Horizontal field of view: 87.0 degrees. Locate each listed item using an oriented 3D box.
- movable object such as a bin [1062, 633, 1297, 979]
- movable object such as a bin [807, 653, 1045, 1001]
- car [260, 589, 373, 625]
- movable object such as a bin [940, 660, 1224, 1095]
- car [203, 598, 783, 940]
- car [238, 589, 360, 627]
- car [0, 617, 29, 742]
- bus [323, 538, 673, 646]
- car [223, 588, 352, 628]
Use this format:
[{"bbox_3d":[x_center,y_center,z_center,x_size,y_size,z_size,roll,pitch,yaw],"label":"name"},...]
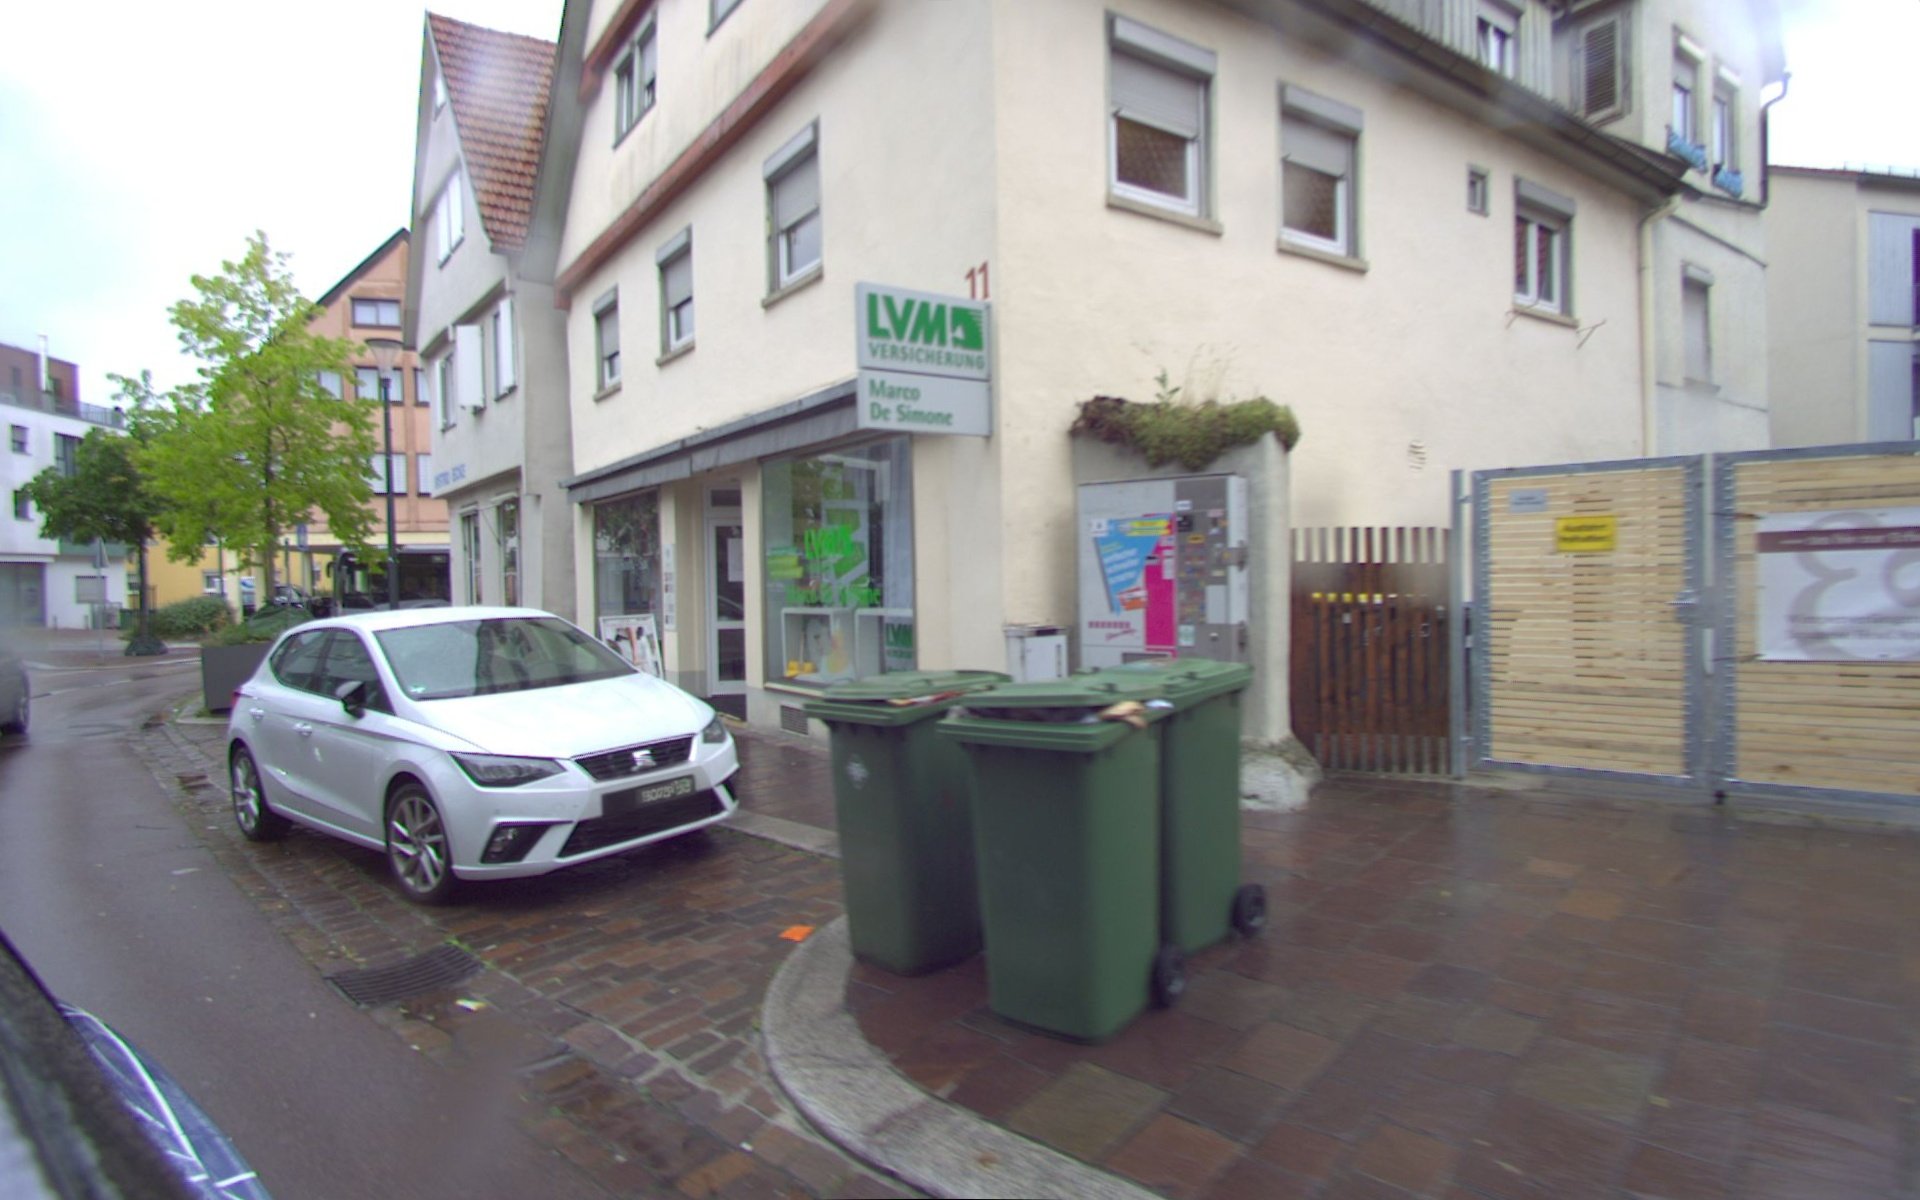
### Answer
[{"bbox_3d":[0.835,0.702,3.832,0.623,1.117,0.652,0,1,42],"label":"movable object such as a bin"},{"bbox_3d":[-0.120,0.788,3.839,0.546,1.095,0.684,0,3,42],"label":"movable object such as a bin"},{"bbox_3d":[-28.827,0.288,45.478,3.931,1.497,2.007,-1,1,-20],"label":"car"},{"bbox_3d":[0.390,0.778,3.191,0.623,1.117,0.652,0,1,42],"label":"movable object such as a bin"},{"bbox_3d":[-2.995,0.753,6.158,3.812,1.433,1.673,-1,0,39],"label":"car"},{"bbox_3d":[-27.840,0.302,42.781,3.931,1.497,2.007,-1,1,-20],"label":"car"},{"bbox_3d":[-11.268,0.924,10.264,1.967,1.417,4.906,-2,0,-34],"label":"car"},{"bbox_3d":[-15.489,-0.328,34.744,10.508,3.325,2.689,-1,0,-24],"label":"bus"},{"bbox_3d":[-26.784,0.312,40.466,3.931,1.497,2.007,-1,1,-20],"label":"car"}]
